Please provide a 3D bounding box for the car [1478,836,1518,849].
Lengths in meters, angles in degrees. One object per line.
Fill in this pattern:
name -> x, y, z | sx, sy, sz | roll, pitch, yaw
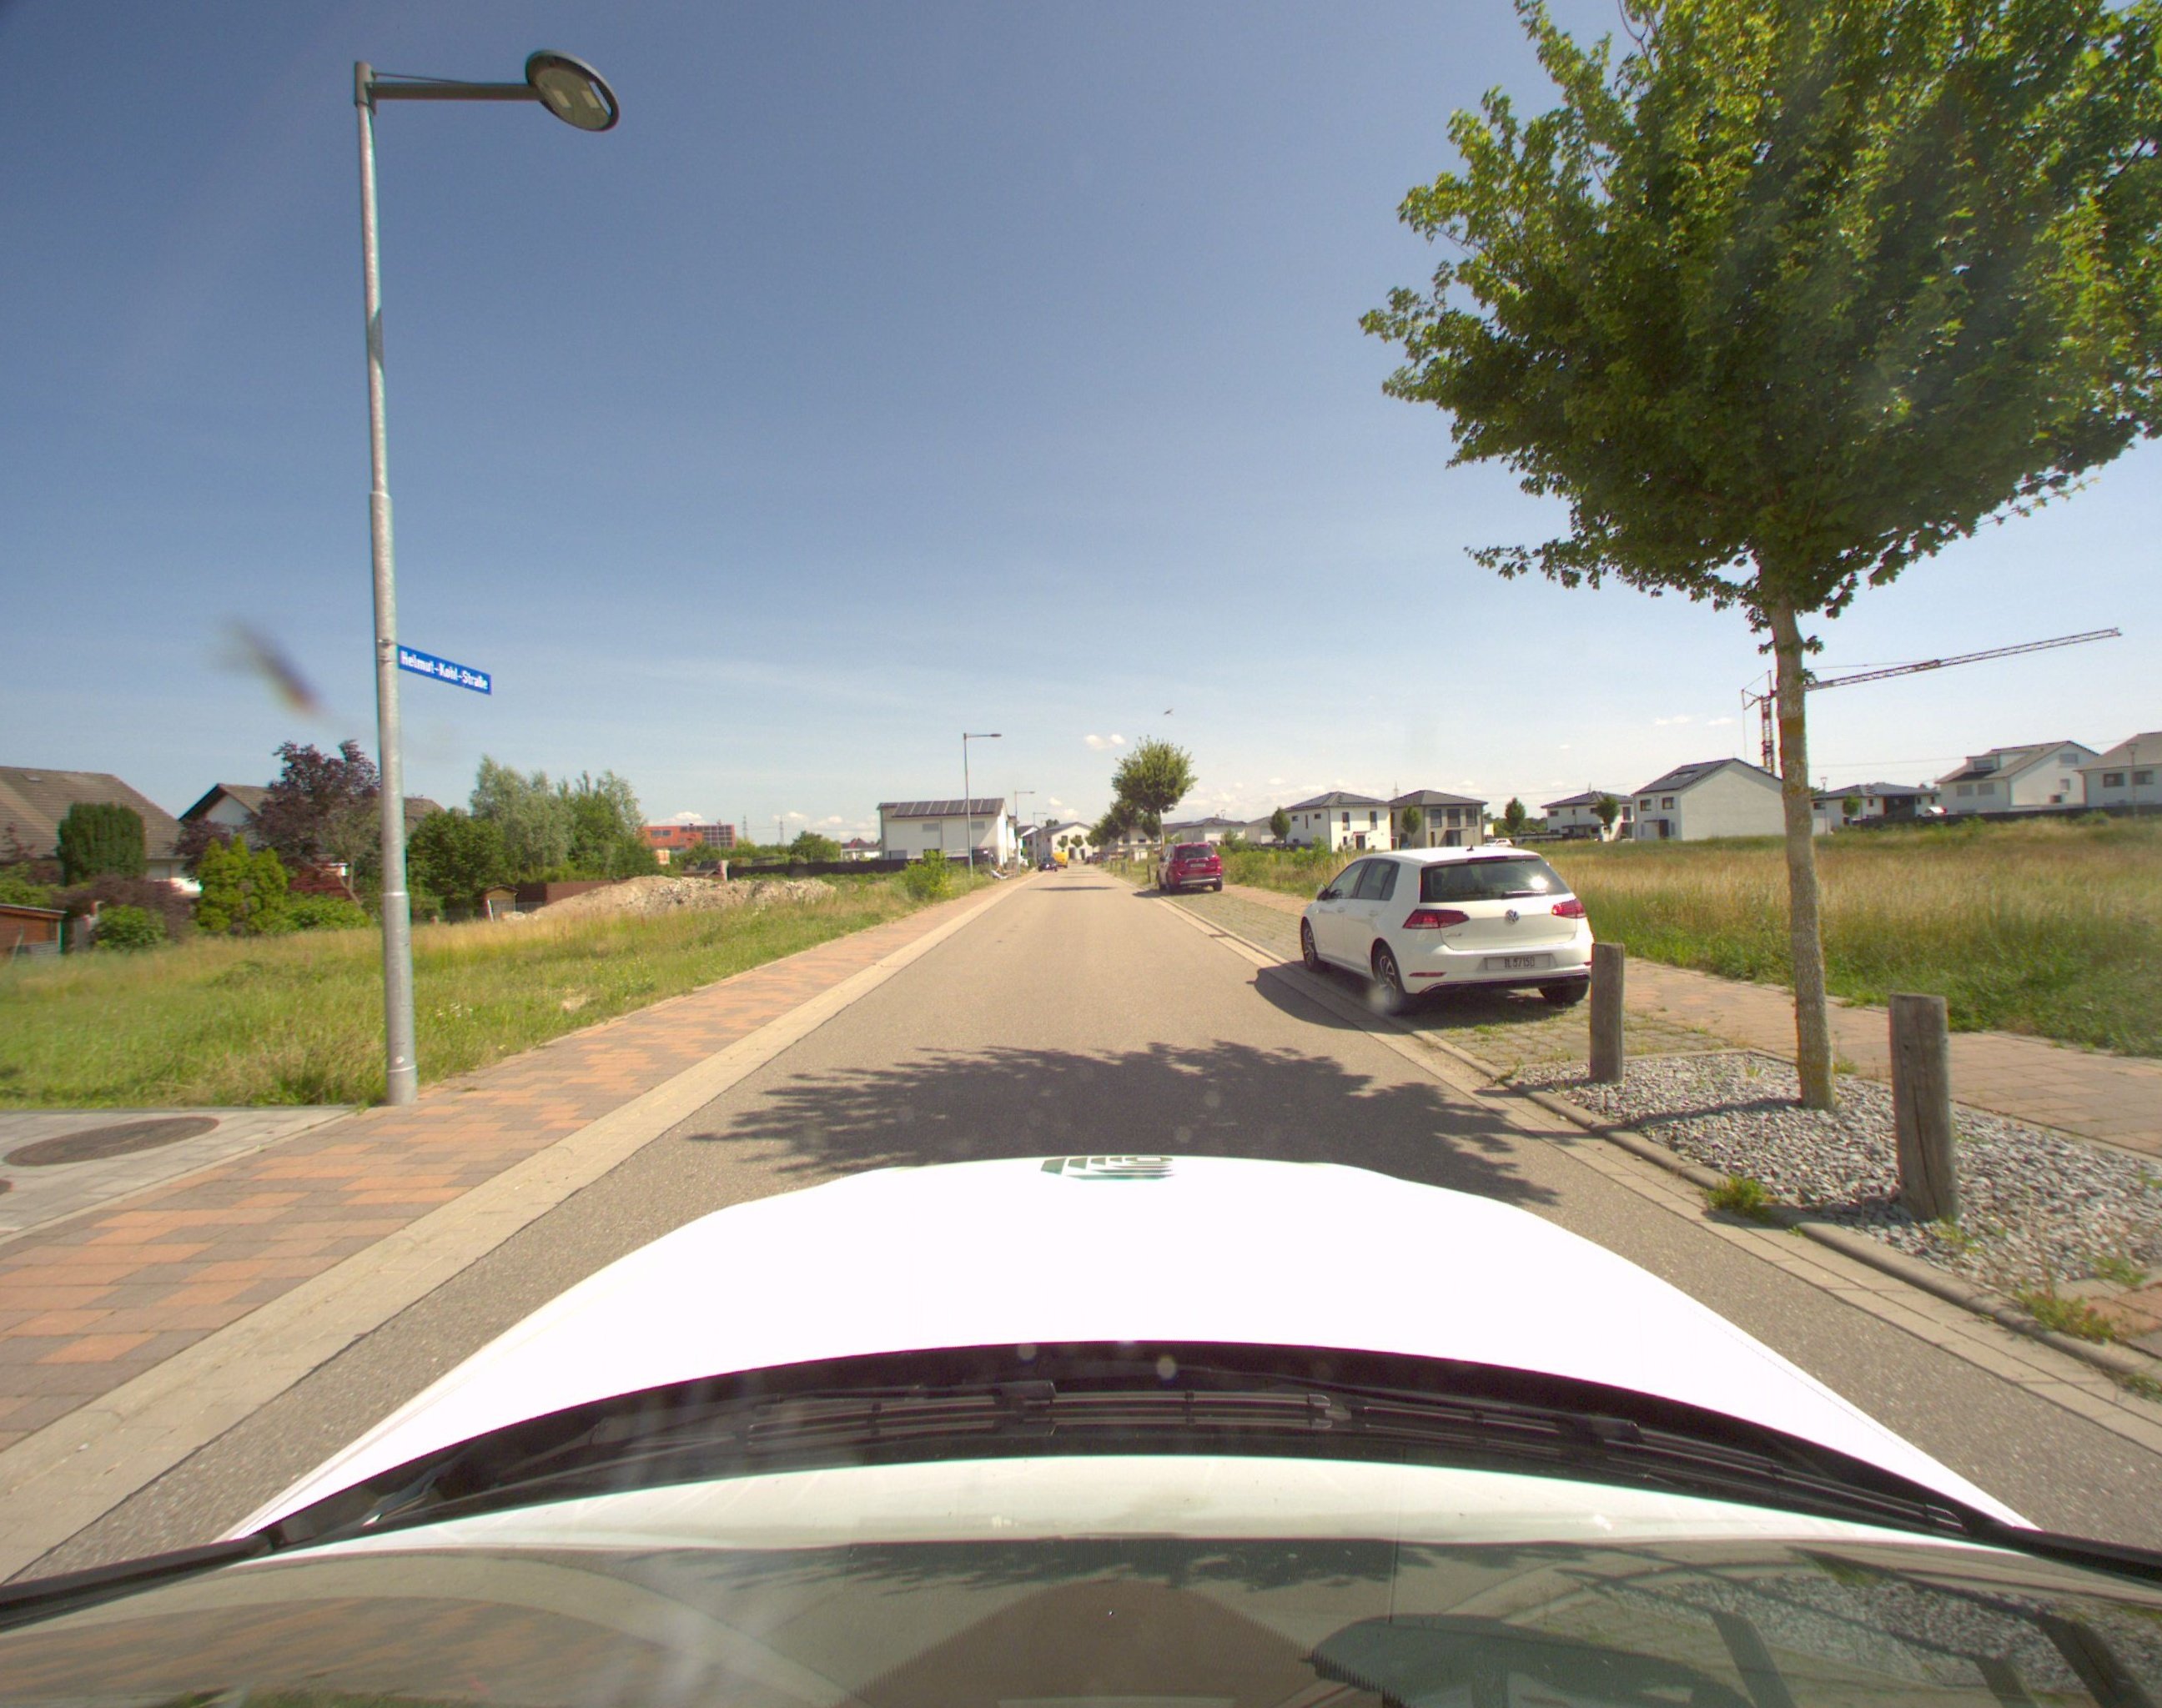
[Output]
car -> 49.653, -1.347, 96.985 | 3.993, 1.398, 1.742 | -2, -1, -15

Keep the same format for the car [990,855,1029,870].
car -> -7.928, 0.965, 90.521 | 4.049, 1.581, 1.787 | -1, 1, 5

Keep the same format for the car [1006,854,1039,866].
car -> -7.979, 0.887, 110.893 | 4.170, 1.505, 1.805 | 2, -1, -17

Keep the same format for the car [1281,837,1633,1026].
car -> 3.590, 0.618, 8.740 | 1.770, 1.419, 4.165 | -4, 0, 0

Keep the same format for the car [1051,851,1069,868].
car -> -2.603, 0.701, 100.263 | 1.938, 1.981, 4.210 | -2, -1, -4

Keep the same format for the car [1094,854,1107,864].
car -> 2.914, 0.724, 120.433 | 1.635, 1.403, 3.808 | -2, -2, -2

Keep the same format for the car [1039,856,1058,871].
car -> -3.161, 0.914, 80.066 | 1.740, 1.405, 4.158 | 0, 0, -1

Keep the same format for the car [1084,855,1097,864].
car -> 1.601, 0.956, 139.018 | 1.626, 1.322, 3.823 | -2, -2, -7

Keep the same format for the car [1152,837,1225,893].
car -> 3.649, 0.342, 28.302 | 1.772, 1.663, 4.431 | -4, 0, -1
